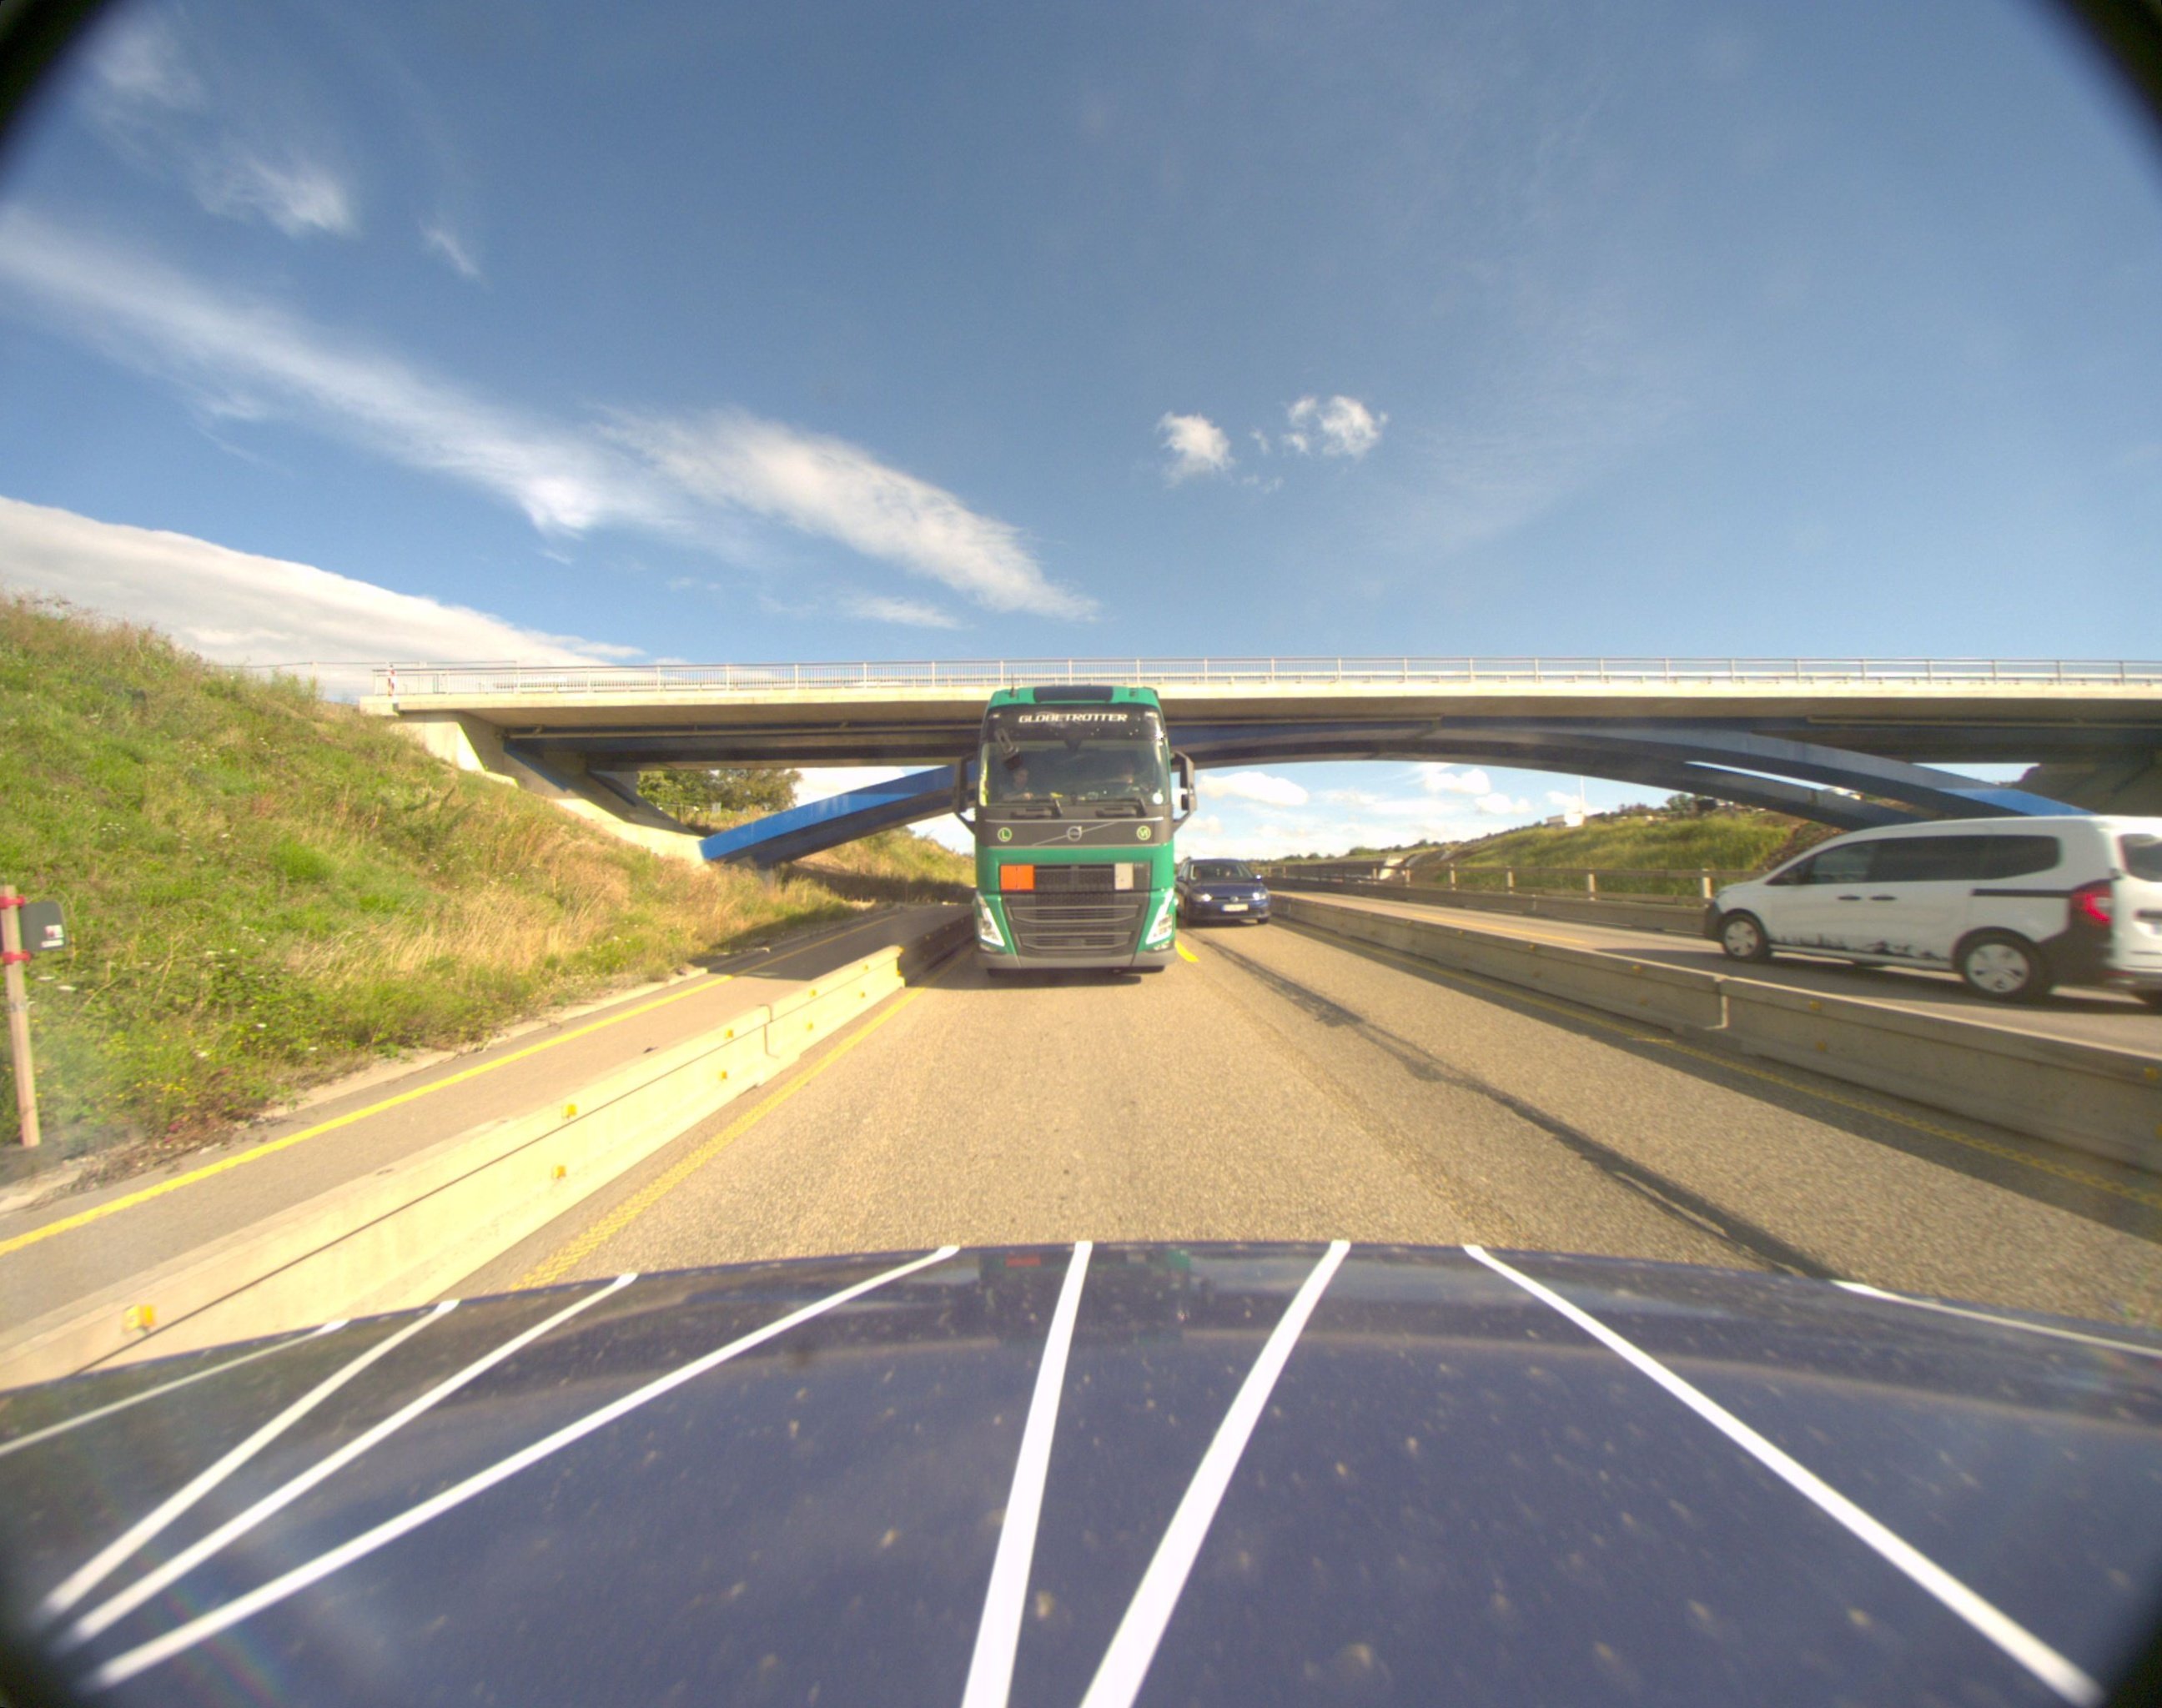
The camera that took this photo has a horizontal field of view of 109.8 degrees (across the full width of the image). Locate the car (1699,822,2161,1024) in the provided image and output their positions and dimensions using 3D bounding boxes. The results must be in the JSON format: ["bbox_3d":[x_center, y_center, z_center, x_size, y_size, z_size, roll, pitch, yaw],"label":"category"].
[{"bbox_3d":[9.414,0.603,8.353,1.738,1.649,4.218,1,0,-1],"label":"car"}]

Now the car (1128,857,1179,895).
[{"bbox_3d":[3.174,0.928,33.983,1.825,1.487,4.373,-2,0,0],"label":"car"}]

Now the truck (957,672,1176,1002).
[{"bbox_3d":[-0.208,-0.206,13.274,2.546,3.899,8.278,-1,0,-1],"label":"truck"}]

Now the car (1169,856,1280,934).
[{"bbox_3d":[3.119,0.829,17.257,1.719,1.499,4.000,-2,0,0],"label":"car"}]
